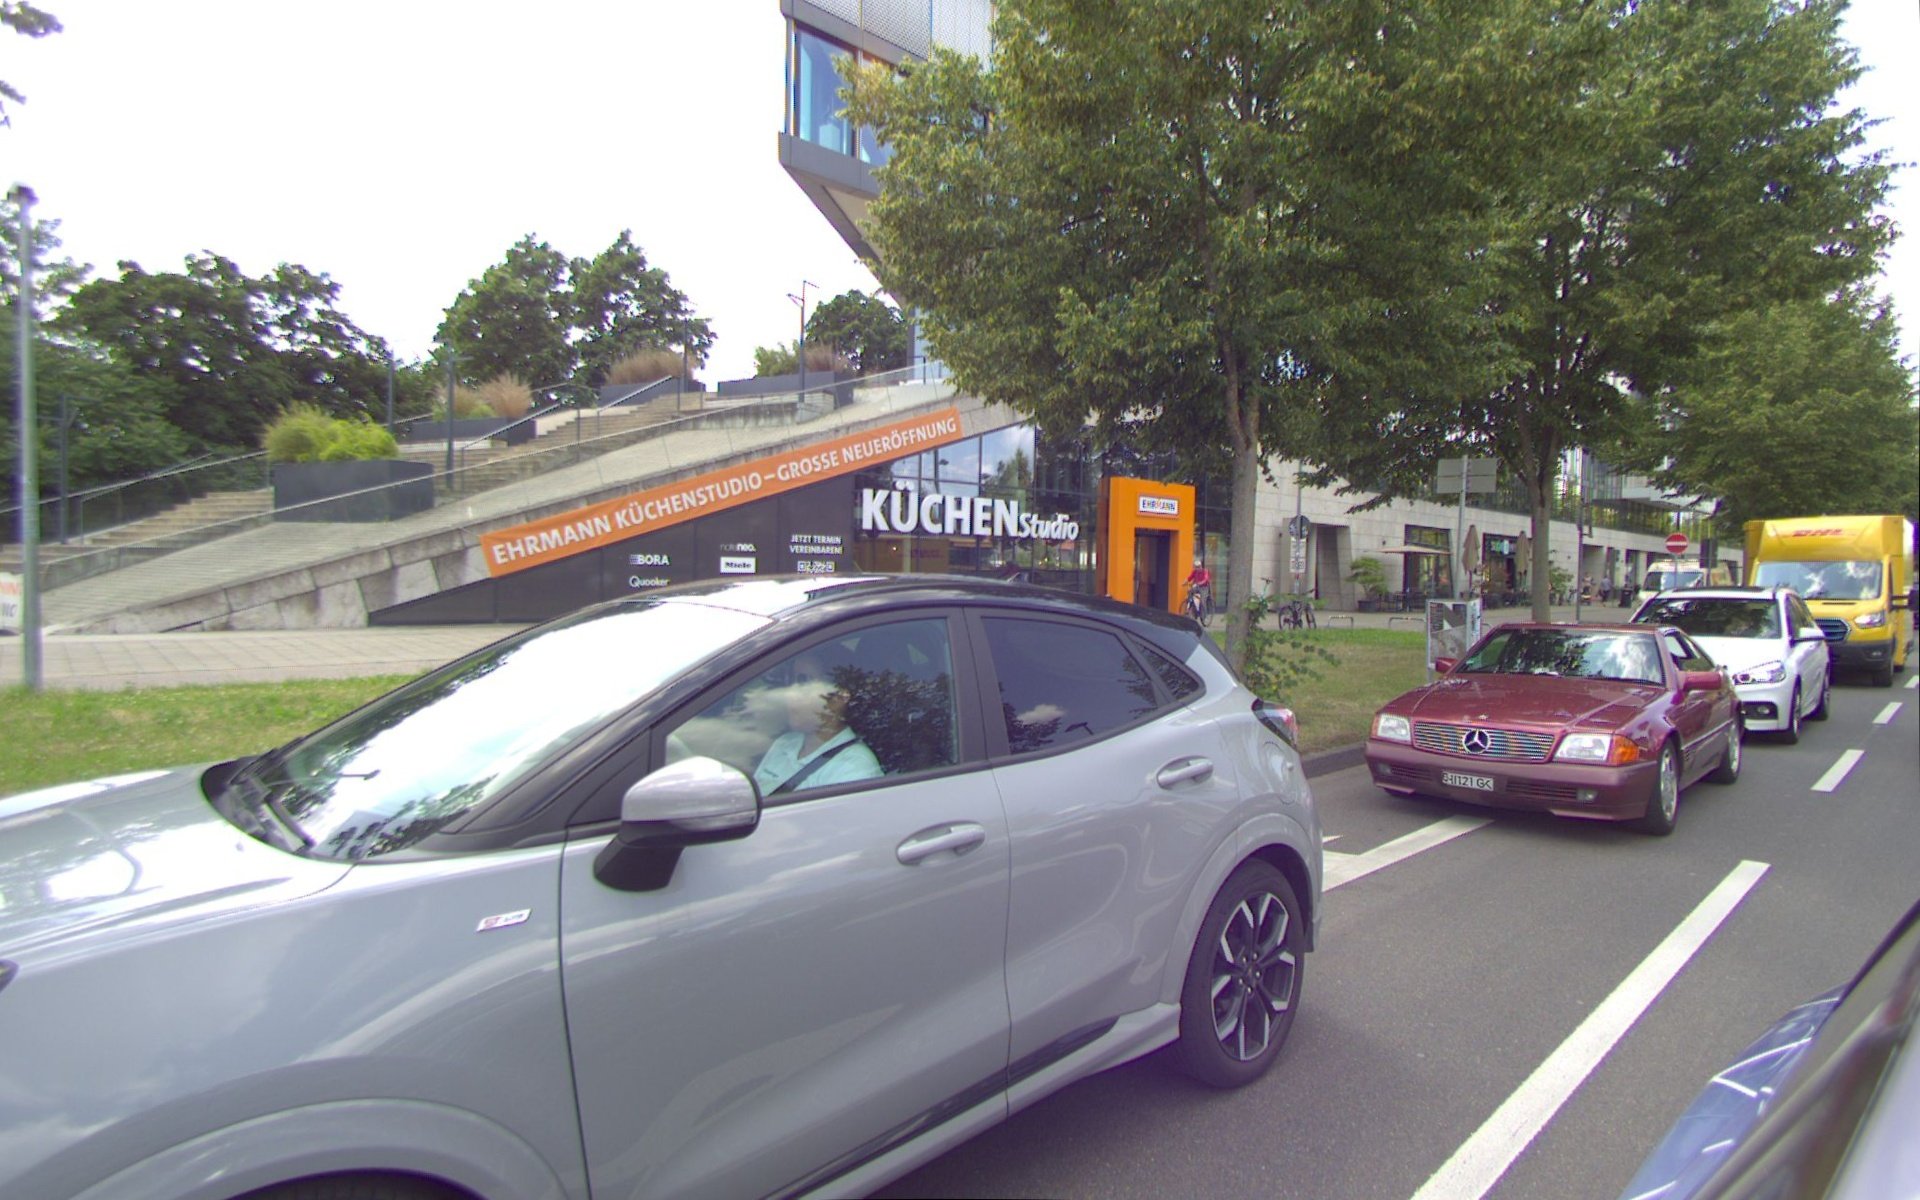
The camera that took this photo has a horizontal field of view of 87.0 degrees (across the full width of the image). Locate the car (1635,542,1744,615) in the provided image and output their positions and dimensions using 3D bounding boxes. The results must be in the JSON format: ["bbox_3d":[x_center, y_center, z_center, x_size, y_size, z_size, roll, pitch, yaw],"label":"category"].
[{"bbox_3d":[26.504,-0.764,36.657,6.174,2.424,2.157,-1,0,-44],"label":"car"}]

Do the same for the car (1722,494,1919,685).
[{"bbox_3d":[16.099,-0.212,18.592,7.136,2.889,2.280,-1,1,-44],"label":"car"}]

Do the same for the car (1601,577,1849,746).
[{"bbox_3d":[8.961,0.579,11.725,4.059,1.619,1.671,0,0,-44],"label":"car"}]

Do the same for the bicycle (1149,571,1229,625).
[{"bbox_3d":[5.892,-0.085,25.938,0.811,1.259,2.372,7,6,44],"label":"bicycle"}]

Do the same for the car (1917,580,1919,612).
[{"bbox_3d":[52.999,-0.231,54.446,3.930,1.672,1.822,-1,0,-41],"label":"car"}]

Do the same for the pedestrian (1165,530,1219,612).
[{"bbox_3d":[5.955,-0.739,25.933,1.211,2.038,0.753,0,2,-44],"label":"pedestrian"}]

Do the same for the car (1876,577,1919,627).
[{"bbox_3d":[35.885,0.053,37.877,4.223,1.783,1.996,-1,0,-42],"label":"car"}]

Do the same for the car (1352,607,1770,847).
[{"bbox_3d":[4.649,0.708,7.556,4.024,1.277,1.671,0,0,-44],"label":"car"}]

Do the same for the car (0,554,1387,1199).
[{"bbox_3d":[-0.584,0.650,2.747,4.023,1.489,1.672,-1,3,-42],"label":"car"}]

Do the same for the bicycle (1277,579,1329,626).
[{"bbox_3d":[8.370,0.058,24.693,0.515,1.102,1.722,3,2,42],"label":"bicycle"}]
